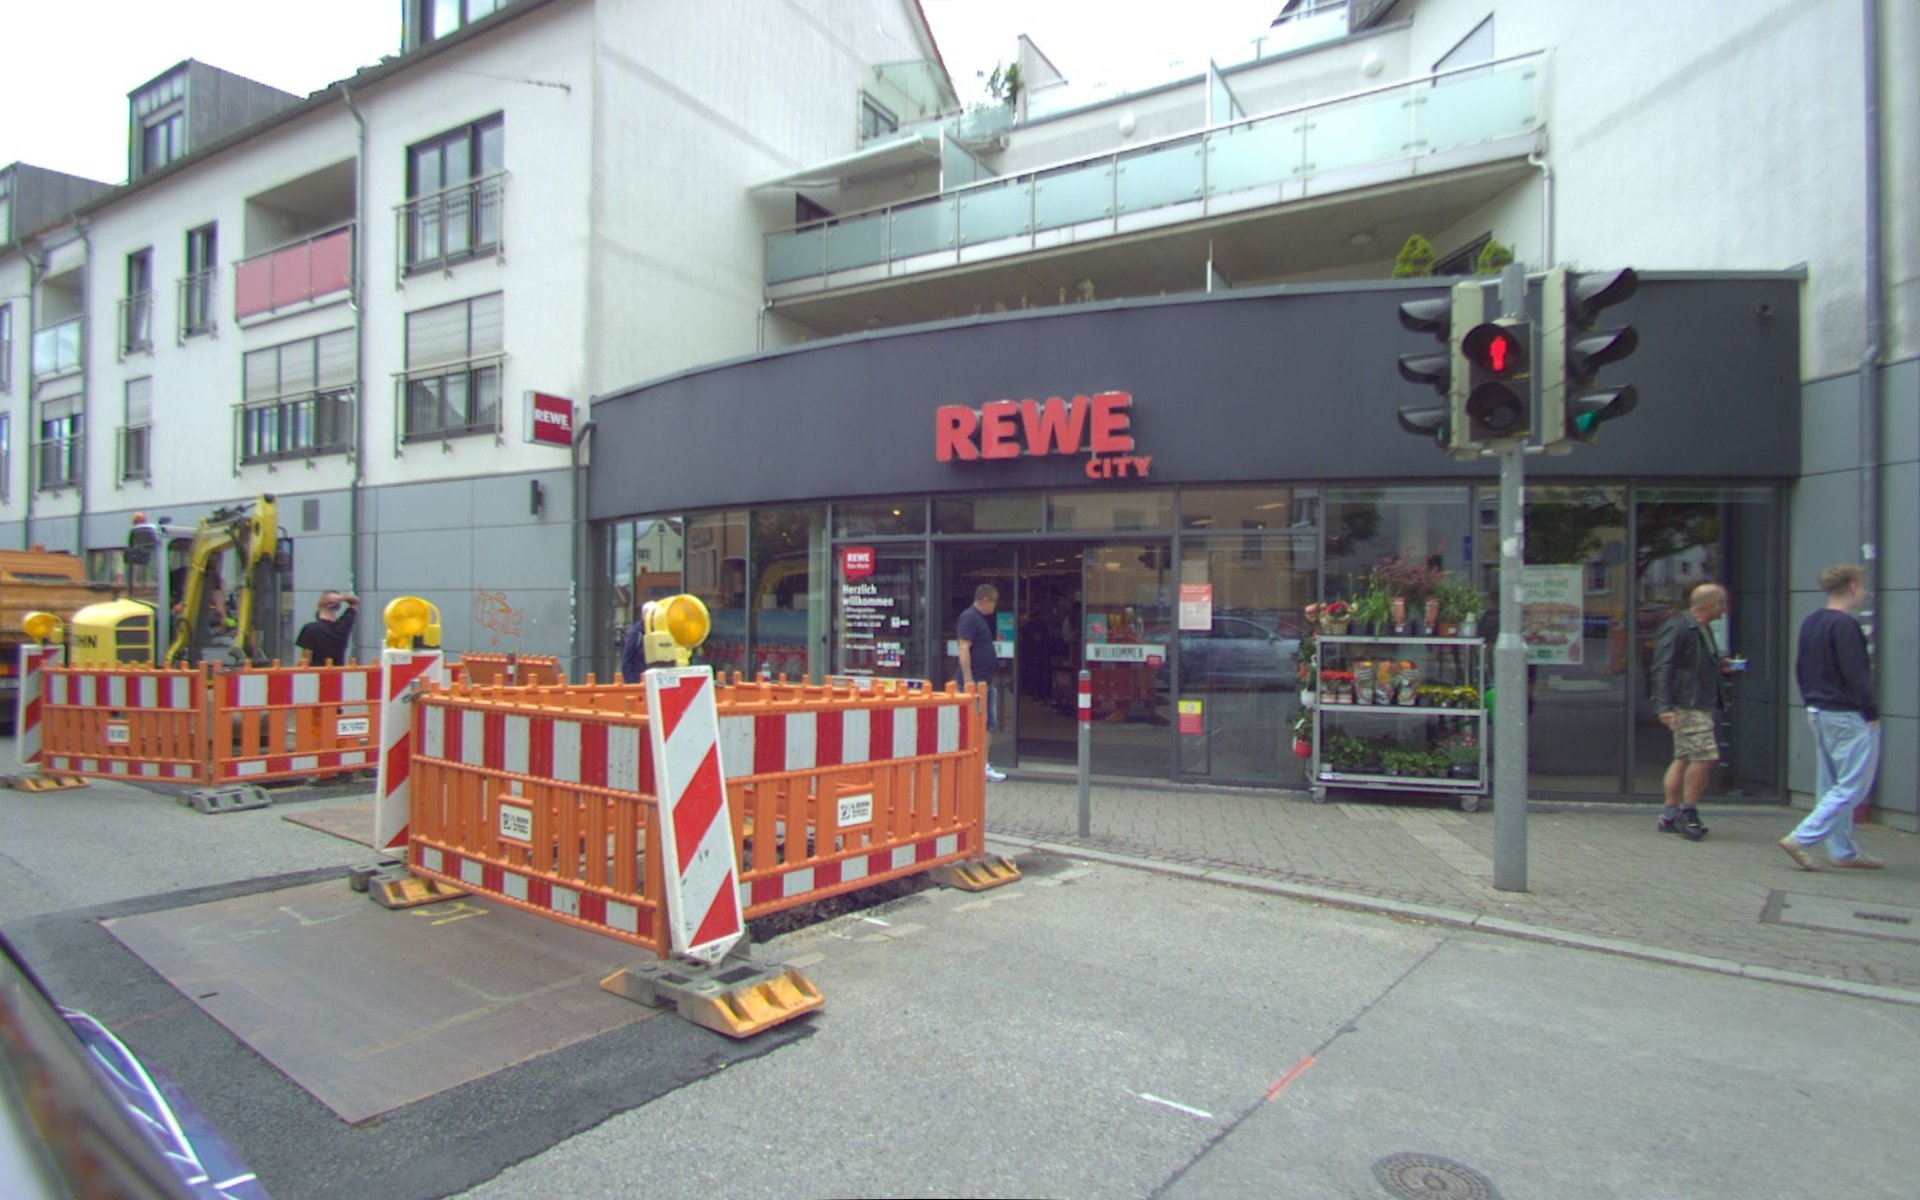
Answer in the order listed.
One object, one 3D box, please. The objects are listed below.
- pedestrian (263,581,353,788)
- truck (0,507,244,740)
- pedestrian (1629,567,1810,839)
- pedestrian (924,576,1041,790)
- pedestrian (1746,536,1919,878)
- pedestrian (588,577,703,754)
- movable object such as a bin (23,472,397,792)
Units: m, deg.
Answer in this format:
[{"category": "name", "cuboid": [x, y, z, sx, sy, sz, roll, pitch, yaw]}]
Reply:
[{"category": "pedestrian", "cuboid": [-5.758, 0.726, 8.941, 0.443, 1.757, 0.532, -1, -2, 36]}, {"category": "truck", "cuboid": [-13.551, 0.384, 14.792, 6.827, 2.746, 2.710, -2, -2, 33]}, {"category": "pedestrian", "cuboid": [5.313, 0.699, 7.134, 0.710, 1.804, 0.692, -1, -2, 7]}, {"category": "pedestrian", "cuboid": [0.212, 0.735, 9.359, 0.787, 1.858, 0.746, -1, -2, 36]}, {"category": "pedestrian", "cuboid": [5.499, 0.614, 6.172, 0.776, 1.940, 0.814, -1, -1, 11]}, {"category": "pedestrian", "cuboid": [-3.251, 0.653, 10.494, 0.815, 1.725, 0.824, -1, -2, 39]}, {"category": "movable object such as a bin", "cuboid": [-8.126, 0.290, 10.840, 4.494, 2.784, 1.823, 0, -1, 35]}]
